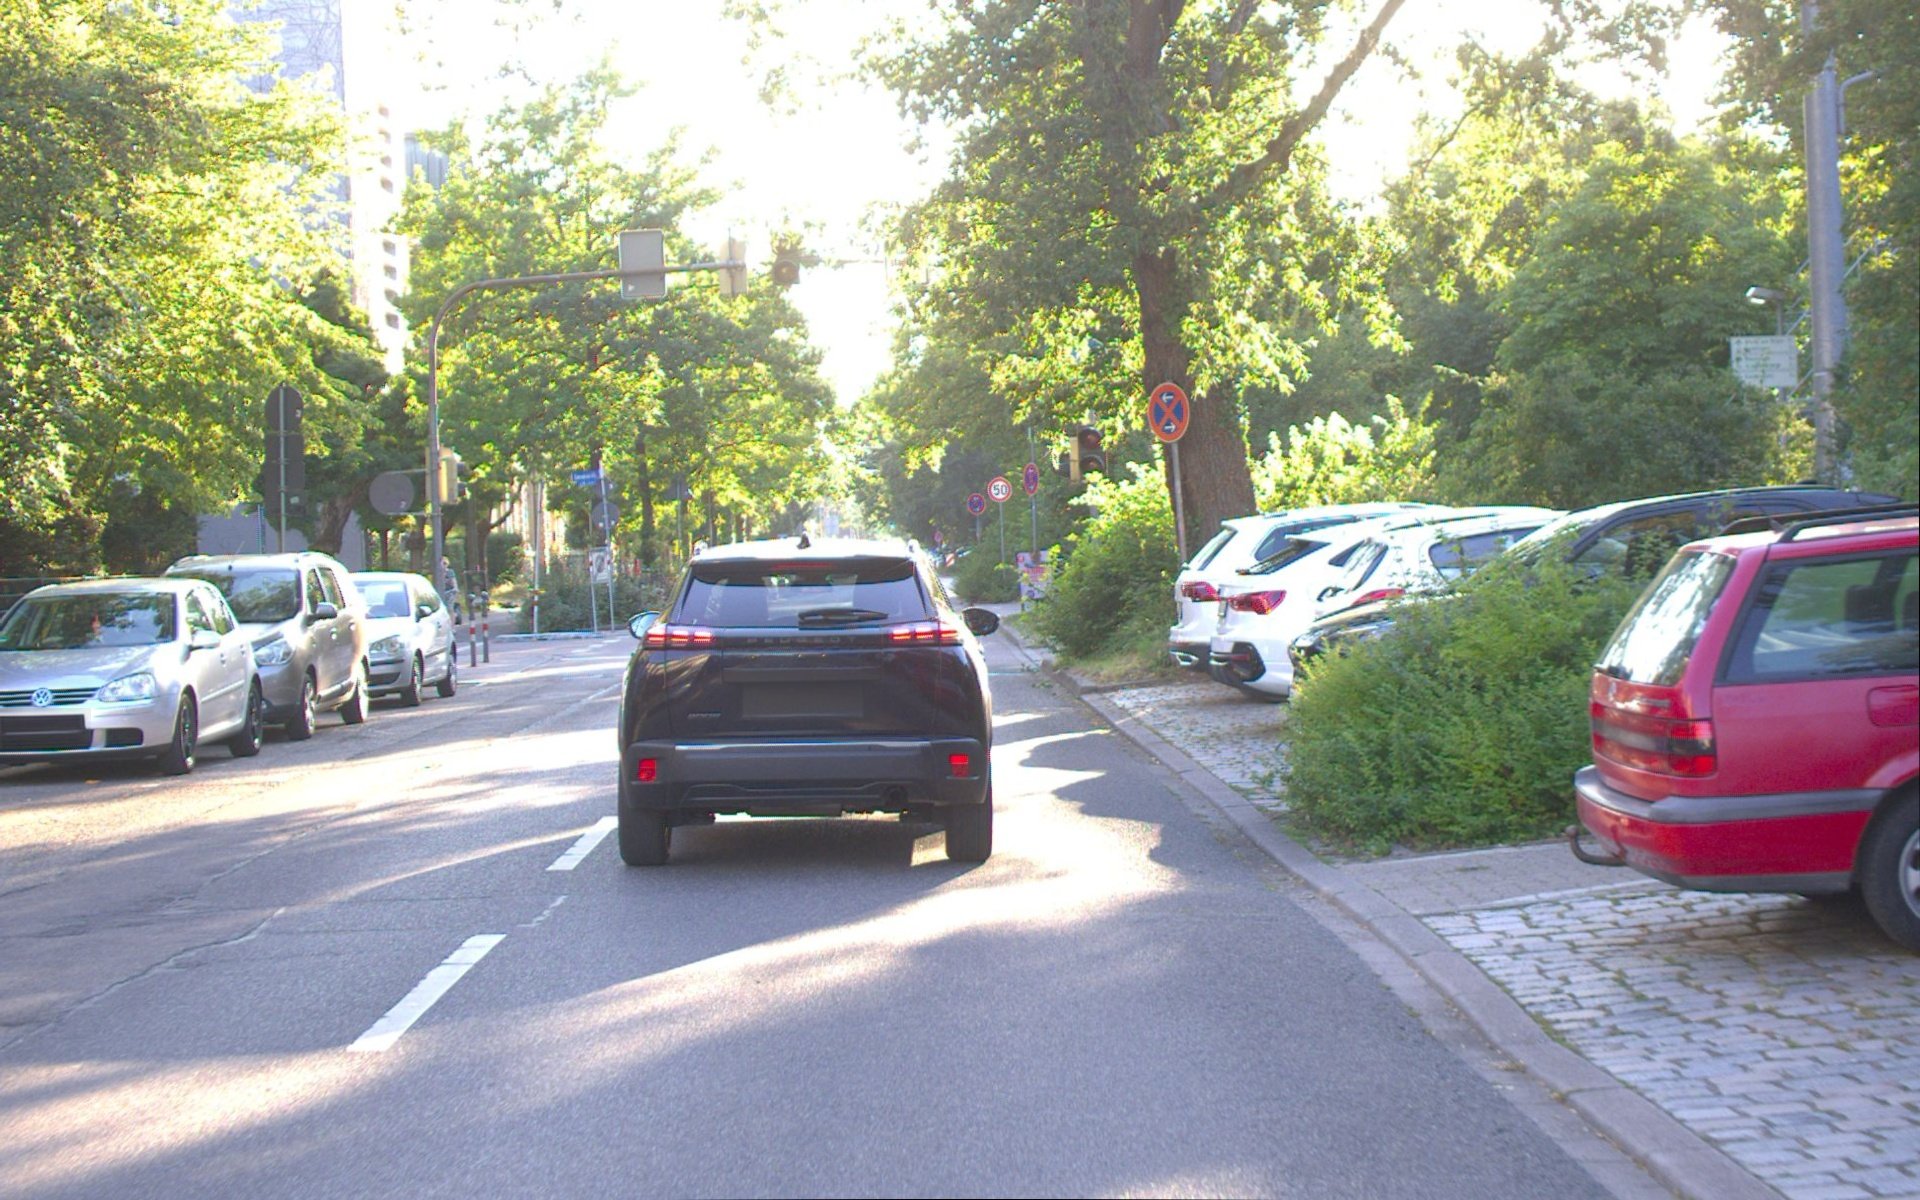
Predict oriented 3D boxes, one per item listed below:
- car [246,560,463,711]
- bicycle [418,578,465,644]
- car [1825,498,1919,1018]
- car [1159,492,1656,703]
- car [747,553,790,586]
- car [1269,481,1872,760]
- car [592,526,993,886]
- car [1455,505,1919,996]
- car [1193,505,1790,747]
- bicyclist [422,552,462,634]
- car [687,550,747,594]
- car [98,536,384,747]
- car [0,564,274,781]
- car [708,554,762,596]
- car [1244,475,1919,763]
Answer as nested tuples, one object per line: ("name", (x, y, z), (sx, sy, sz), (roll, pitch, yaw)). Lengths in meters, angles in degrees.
("car", (-6.679, 0.356, 38.281), (1.679, 1.452, 3.882), (-3, 1, 0))
("bicycle", (-10.229, 0.207, 67.871), (0.686, 1.245, 2.193), (-1, 1, -4))
("car", (4.692, 0.333, 10.078), (3.711, 1.550, 1.742), (-5, 1, -4))
("car", (3.866, -0.039, 30.270), (4.170, 1.704, 1.867), (-1, 1, 3))
("car", (-8.668, -1.389, 155.301), (1.810, 1.349, 3.980), (-3, 1, -5))
("car", (4.019, 0.131, 23.054), (3.588, 1.561, 1.818), (-4, 0, -2))
("car", (-0.816, 0.443, 17.218), (1.768, 1.563, 3.381), (-2, 1, -2))
("car", (4.105, 0.370, 12.227), (4.337, 1.470, 1.742), (-5, 2, 0))
("car", (3.868, 0.172, 25.497), (4.122, 1.661, 1.723), (-1, 1, -1))
("bicyclist", (-10.237, -0.136, 67.914), (0.675, 1.598, 0.706), (-1, 1, -3))
("car", (-8.163, -0.954, 115.216), (1.810, 1.349, 4.001), (-3, 1, -6))
("car", (-6.581, 0.321, 31.908), (1.679, 1.702, 4.341), (-3, 1, 0))
("car", (-6.527, 0.502, 26.461), (1.671, 1.488, 4.061), (-2, 1, 0))
("car", (-7.965, -0.895, 121.466), (1.810, 1.349, 4.001), (-3, 1, -5))
("car", (3.693, 0.092, 20.634), (3.744, 1.589, 1.697), (-1, 1, -3))
